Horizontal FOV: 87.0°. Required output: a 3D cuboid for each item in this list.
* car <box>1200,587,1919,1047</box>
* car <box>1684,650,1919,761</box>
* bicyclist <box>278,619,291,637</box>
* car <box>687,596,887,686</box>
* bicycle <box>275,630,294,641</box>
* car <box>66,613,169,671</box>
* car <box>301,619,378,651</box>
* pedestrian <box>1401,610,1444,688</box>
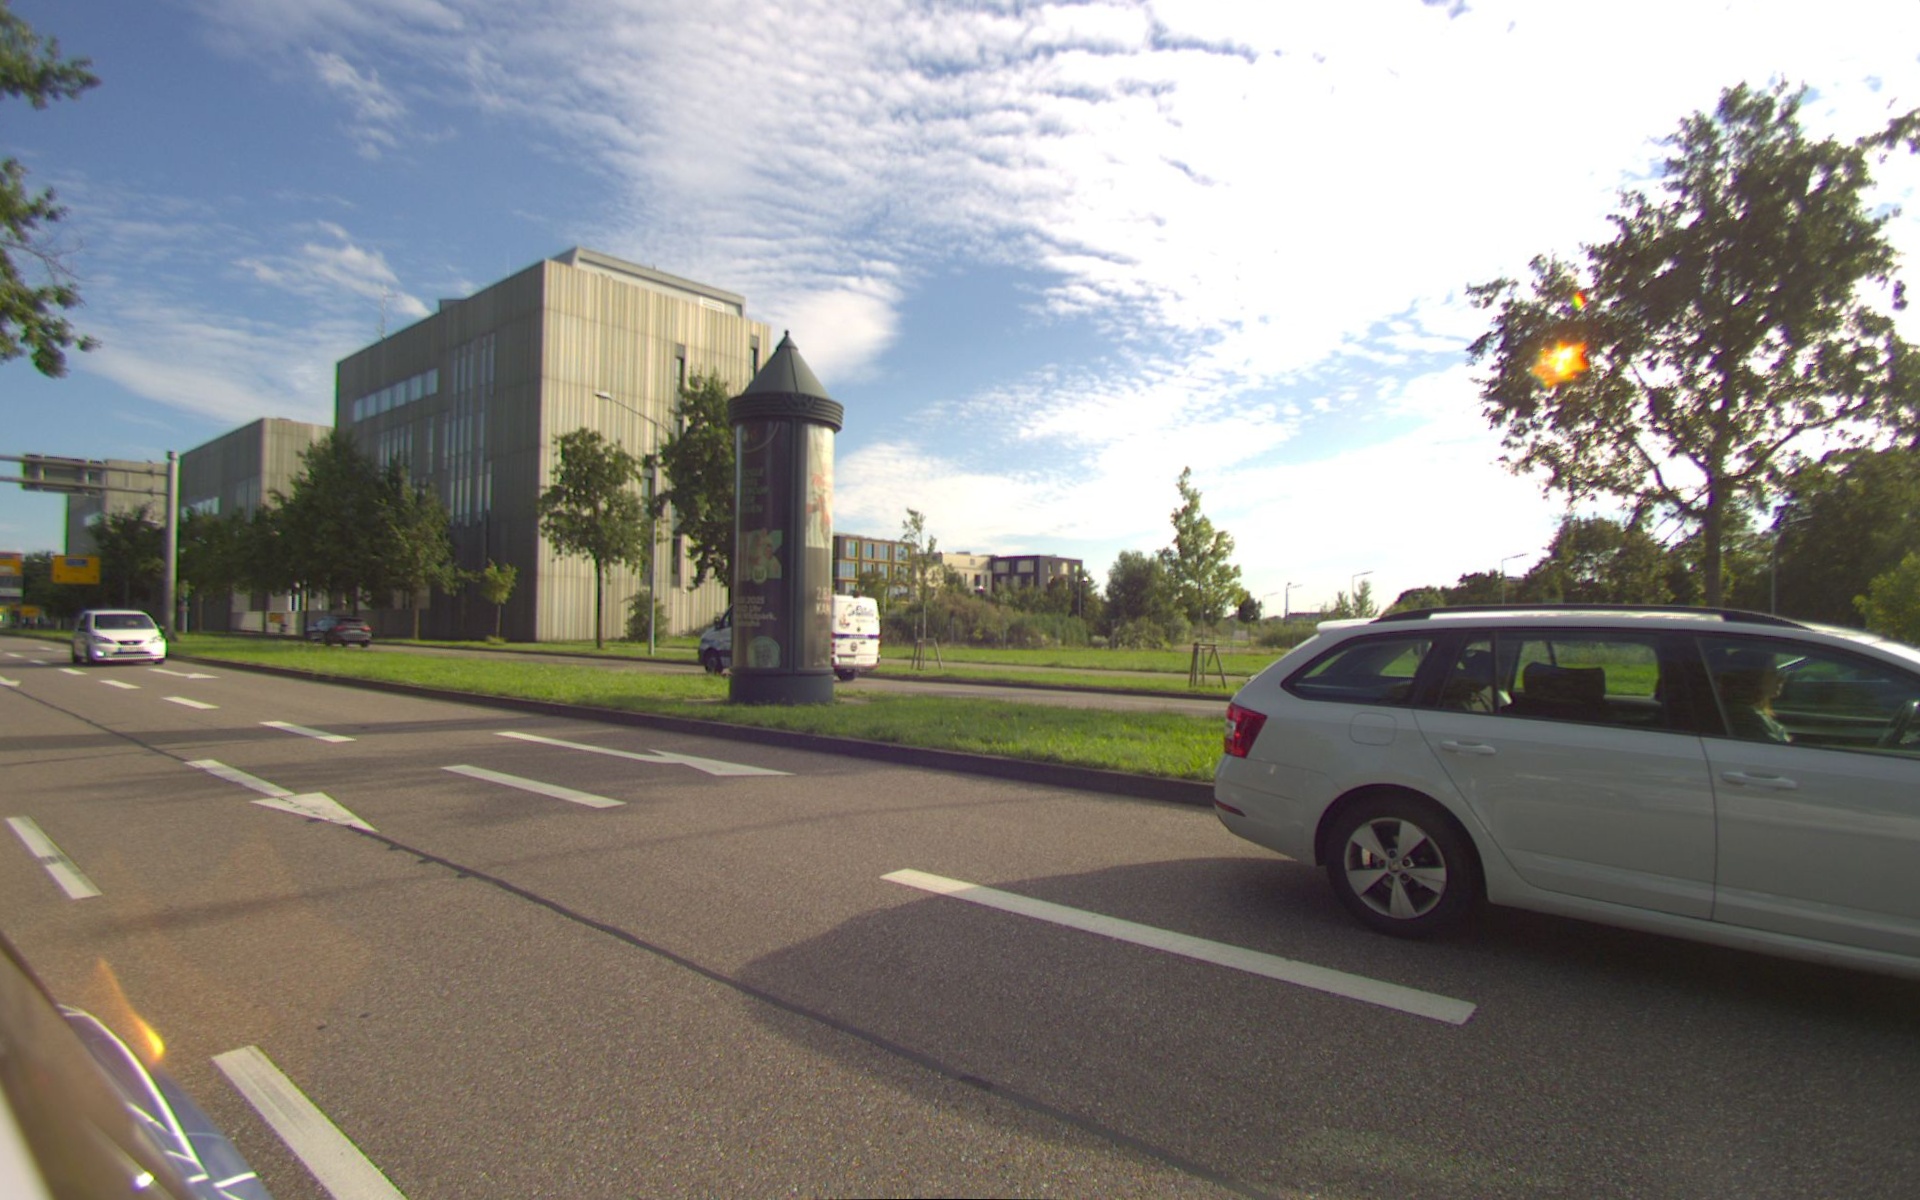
[{"bbox_3d":[3.425,0.723,4.205,4.479,1.510,1.681,-1,-1,41],"label":"car"},{"bbox_3d":[12.840,1.478,14.174,4.225,1.445,1.888,-2,-7,41],"label":"car"},{"bbox_3d":[-60.496,2.494,90.626,0.989,1.537,0.698,-1,-3,41],"label":"bicyclist"},{"bbox_3d":[-4.908,1.126,28.114,5.917,2.252,1.974,-1,-4,38],"label":"car"},{"bbox_3d":[-60.465,3.192,90.563,1.910,0.989,0.885,-1,-3,41],"label":"bicycle"},{"bbox_3d":[-23.068,1.098,27.676,4.001,1.475,1.722,-1,-1,44],"label":"car"},{"bbox_3d":[-29.677,1.671,48.373,4.205,1.420,1.881,-1,-4,41],"label":"car"},{"bbox_3d":[12.228,1.290,26.759,0.867,2.029,0.667,-1,-3,41],"label":"pedestrian"}]
